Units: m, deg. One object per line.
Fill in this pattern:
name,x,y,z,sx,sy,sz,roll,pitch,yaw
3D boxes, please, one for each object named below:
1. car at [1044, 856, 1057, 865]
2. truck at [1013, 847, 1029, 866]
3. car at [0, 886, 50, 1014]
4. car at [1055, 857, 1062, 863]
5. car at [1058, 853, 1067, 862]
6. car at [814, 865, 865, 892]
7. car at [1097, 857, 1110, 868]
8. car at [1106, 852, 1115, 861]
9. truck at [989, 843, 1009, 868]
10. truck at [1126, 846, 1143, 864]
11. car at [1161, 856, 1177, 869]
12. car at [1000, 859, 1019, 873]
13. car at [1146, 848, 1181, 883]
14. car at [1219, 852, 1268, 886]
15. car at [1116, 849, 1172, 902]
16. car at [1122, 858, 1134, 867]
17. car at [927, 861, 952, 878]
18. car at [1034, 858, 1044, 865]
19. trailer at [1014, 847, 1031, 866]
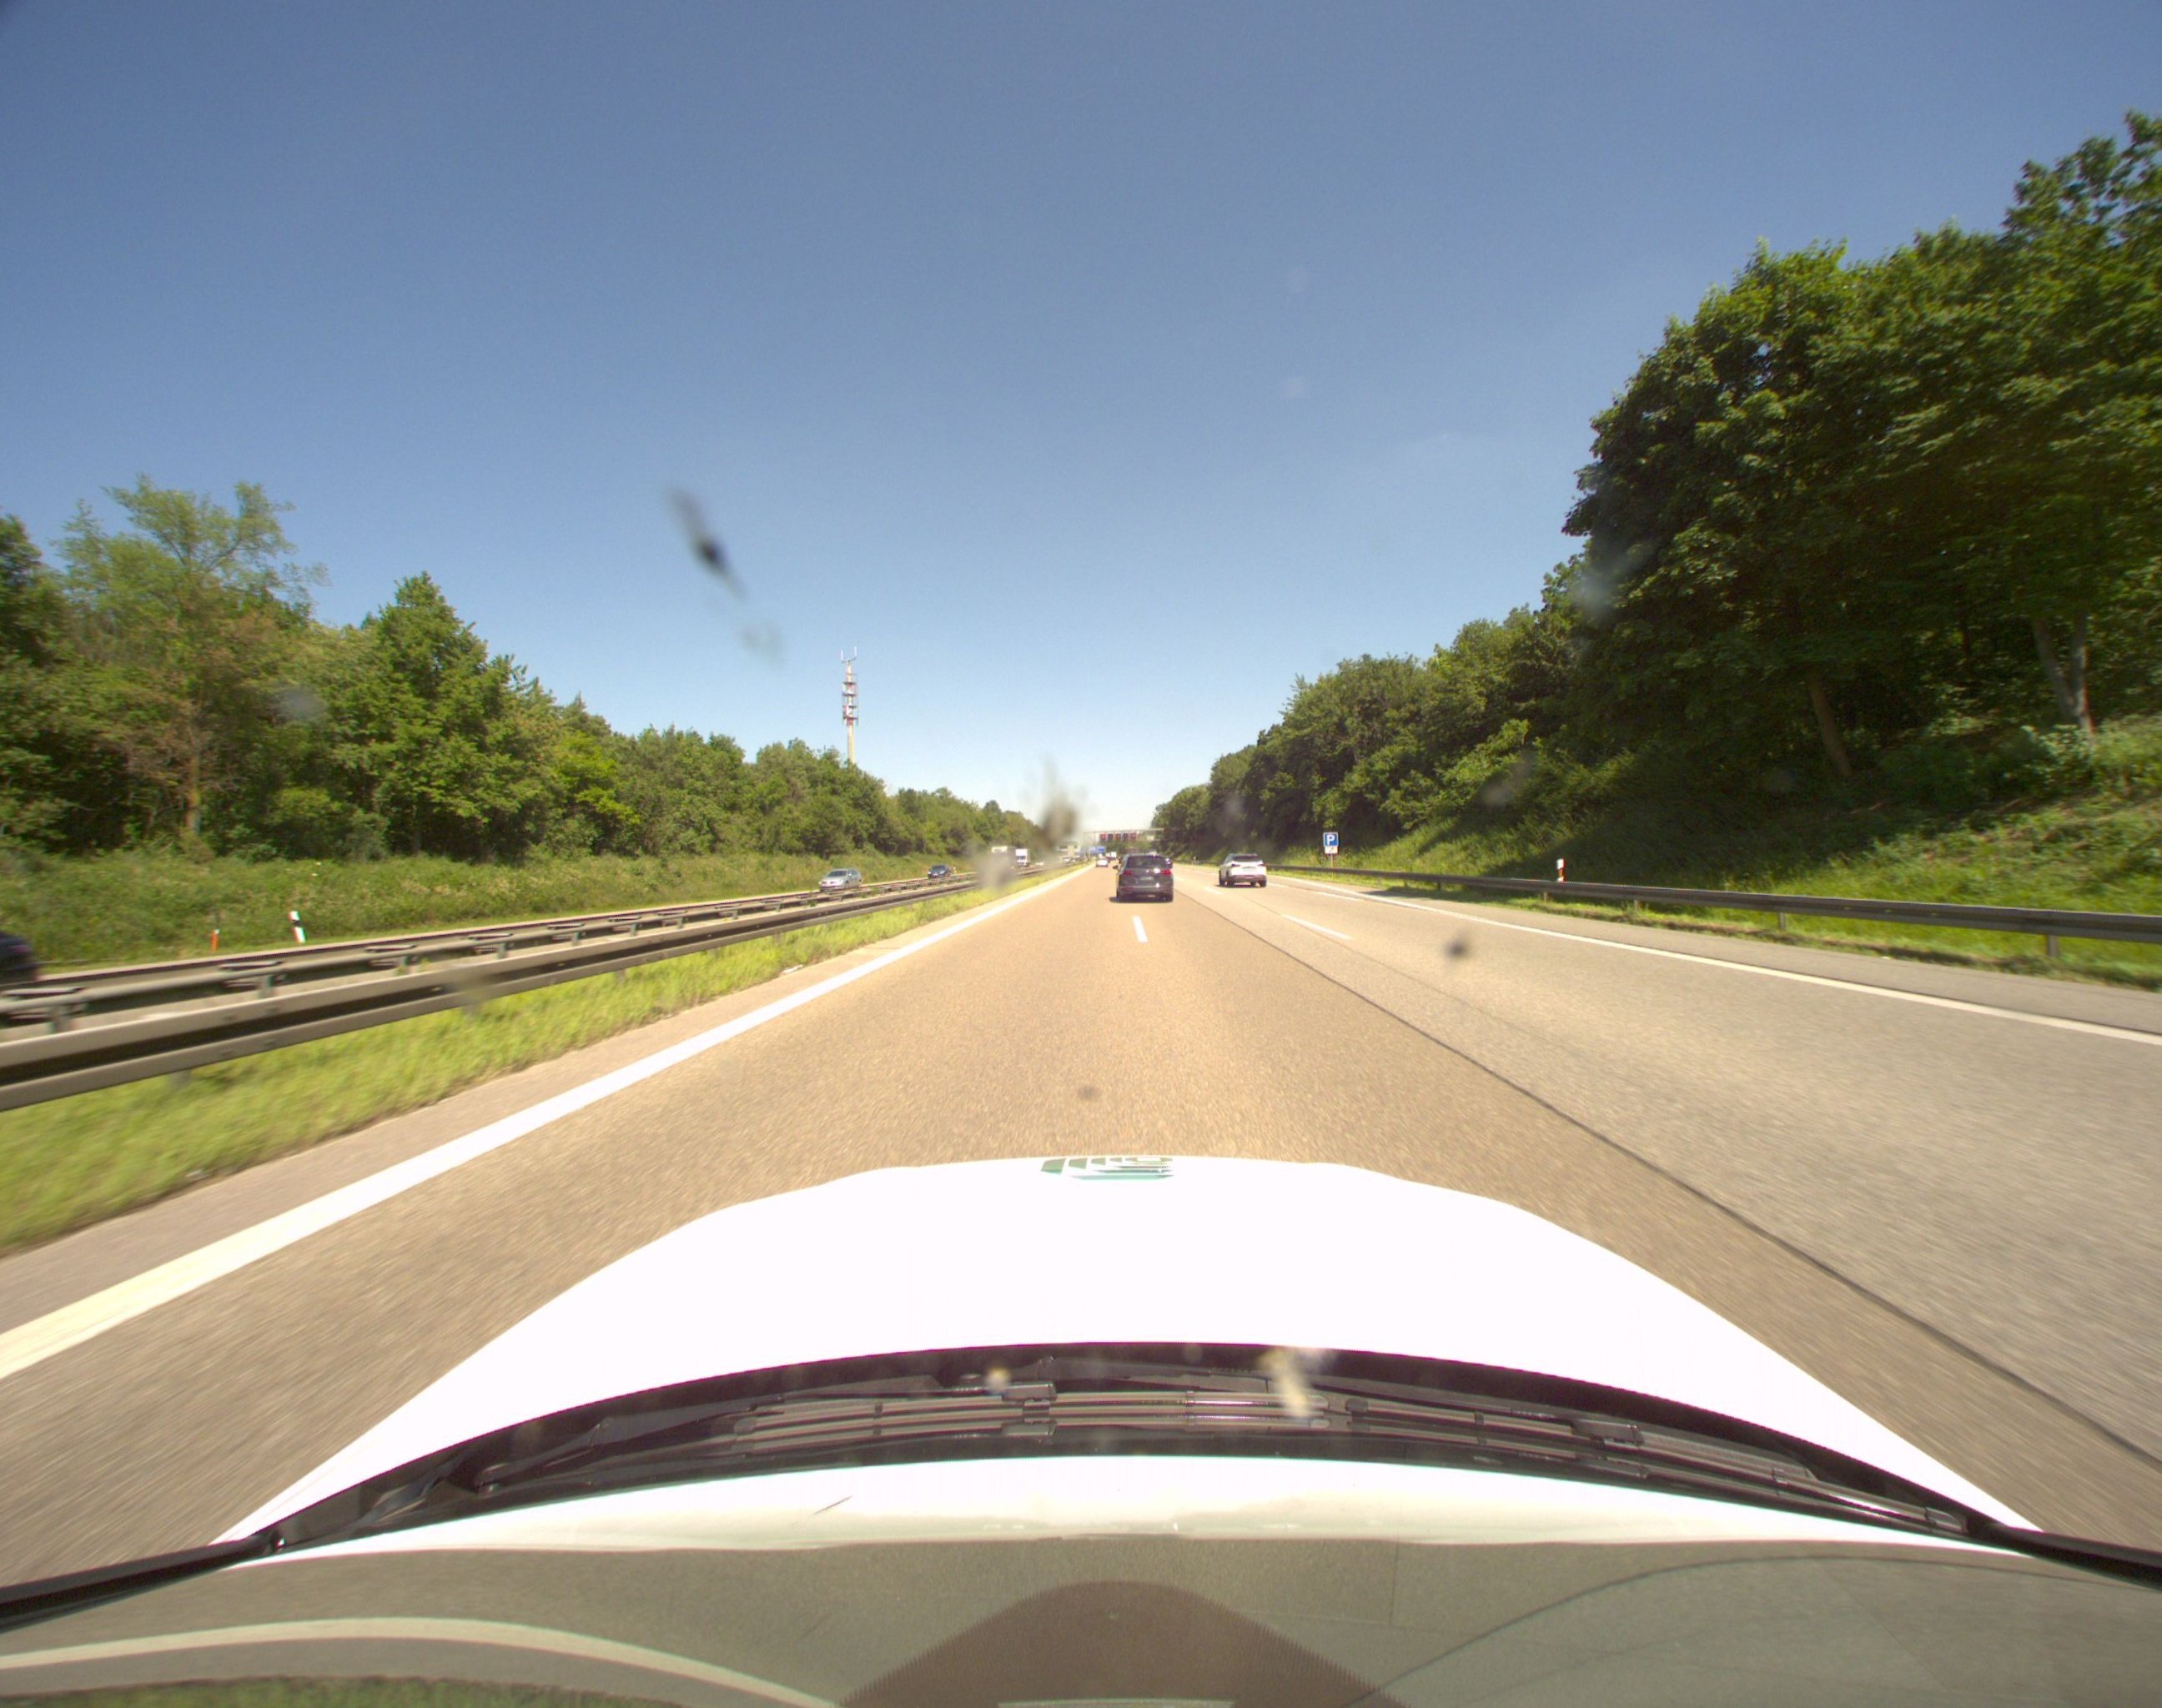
car,-5.509,1.167,147.343,1.800,1.405,4.821,-2,0,2
truck,-12.567,0.559,169.992,2.693,3.809,4.001,-3,0,1
car,-14.384,1.255,8.368,1.749,1.568,4.432,-4,0,3
car,-6.360,1.632,232.184,1.669,1.496,3.546,-2,0,1
car,-4.585,0.783,200.643,1.921,1.981,5.236,-4,0,2
car,-15.934,1.595,54.038,1.621,1.492,4.944,-4,0,3
car,3.235,1.182,117.363,1.757,1.568,4.262,0,0,3
car,6.946,0.539,193.238,1.986,2.013,4.001,0,0,1
truck,-13.708,0.286,136.995,2.605,4.058,4.001,-4,0,1
truck,14.041,0.288,215.673,3.767,4.422,14.051,-1,0,1
car,10.826,1.086,100.592,1.757,1.568,4.262,0,0,3
car,-7.733,1.280,88.729,1.480,1.356,4.419,-2,0,2
car,4.754,0.625,47.389,1.659,1.876,4.829,-2,0,2
car,7.866,0.689,39.690,1.835,1.568,4.039,0,0,3
car,2.143,0.691,28.104,1.792,1.669,4.262,0,0,3
car,7.061,1.289,123.061,1.757,1.381,4.262,0,0,3
car,-14.300,1.516,82.562,1.589,1.568,4.370,-4,0,1
car,-8.602,1.473,166.827,1.707,1.418,4.506,-2,0,2
trailer,-12.449,0.575,174.261,2.702,3.809,7.695,-3,0,2
